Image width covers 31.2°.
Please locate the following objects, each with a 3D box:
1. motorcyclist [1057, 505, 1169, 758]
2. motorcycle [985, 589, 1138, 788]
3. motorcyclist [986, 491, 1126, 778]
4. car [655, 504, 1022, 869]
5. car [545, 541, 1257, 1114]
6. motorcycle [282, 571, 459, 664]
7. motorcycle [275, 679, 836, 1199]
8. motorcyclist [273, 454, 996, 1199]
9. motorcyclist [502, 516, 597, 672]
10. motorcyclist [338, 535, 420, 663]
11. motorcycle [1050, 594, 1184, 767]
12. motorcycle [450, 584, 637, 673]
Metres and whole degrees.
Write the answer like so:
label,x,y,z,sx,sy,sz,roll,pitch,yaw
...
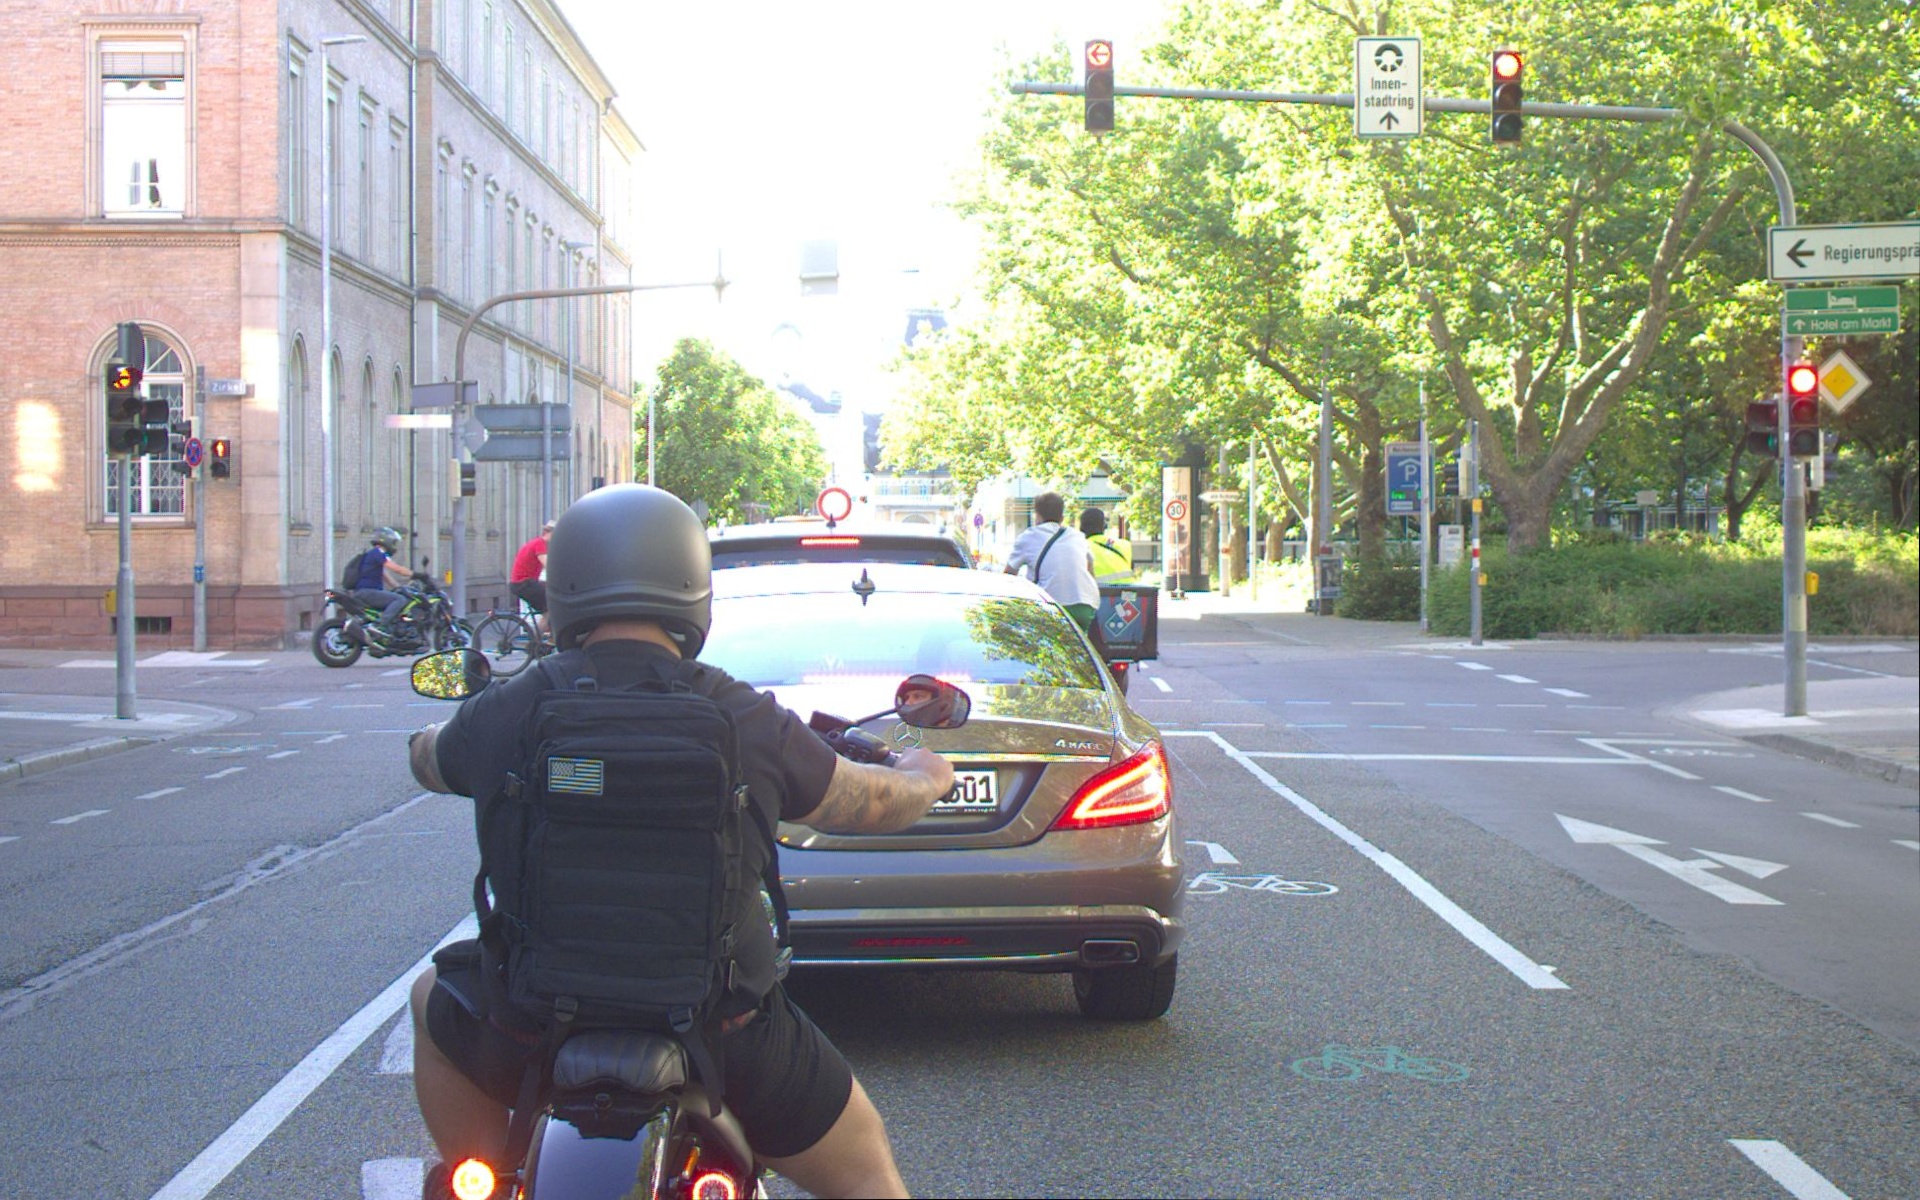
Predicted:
label,x,y,z,sx,sy,sz,roll,pitch,yaw
motorcyclist,1.070,0.215,24.149,0.717,1.737,0.751,1,0,-1
motorcycle,0.613,0.525,21.517,0.863,1.164,1.930,1,1,-1
motorcyclist,0.604,0.212,21.948,0.831,1.782,0.913,1,0,-1
car,-0.575,0.375,17.703,1.651,1.646,4.000,1,1,-1
car,-0.404,0.574,11.135,1.824,1.481,4.334,1,1,-7
motorcycle,-7.139,0.215,41.606,2.080,1.093,0.628,1,0,-12
motorcycle,-0.559,0.782,5.429,0.660,1.236,2.058,1,1,-1
motorcyclist,-0.462,0.602,5.335,0.990,1.605,1.120,1,0,-1
motorcyclist,-4.595,-0.071,38.509,0.985,1.716,0.551,1,0,0
motorcyclist,-7.042,-0.018,41.679,0.939,1.532,0.645,1,0,-12
motorcycle,1.075,0.534,24.058,0.797,1.128,2.236,1,1,-1
motorcycle,-4.657,0.310,38.507,2.012,0.958,0.580,1,0,0
